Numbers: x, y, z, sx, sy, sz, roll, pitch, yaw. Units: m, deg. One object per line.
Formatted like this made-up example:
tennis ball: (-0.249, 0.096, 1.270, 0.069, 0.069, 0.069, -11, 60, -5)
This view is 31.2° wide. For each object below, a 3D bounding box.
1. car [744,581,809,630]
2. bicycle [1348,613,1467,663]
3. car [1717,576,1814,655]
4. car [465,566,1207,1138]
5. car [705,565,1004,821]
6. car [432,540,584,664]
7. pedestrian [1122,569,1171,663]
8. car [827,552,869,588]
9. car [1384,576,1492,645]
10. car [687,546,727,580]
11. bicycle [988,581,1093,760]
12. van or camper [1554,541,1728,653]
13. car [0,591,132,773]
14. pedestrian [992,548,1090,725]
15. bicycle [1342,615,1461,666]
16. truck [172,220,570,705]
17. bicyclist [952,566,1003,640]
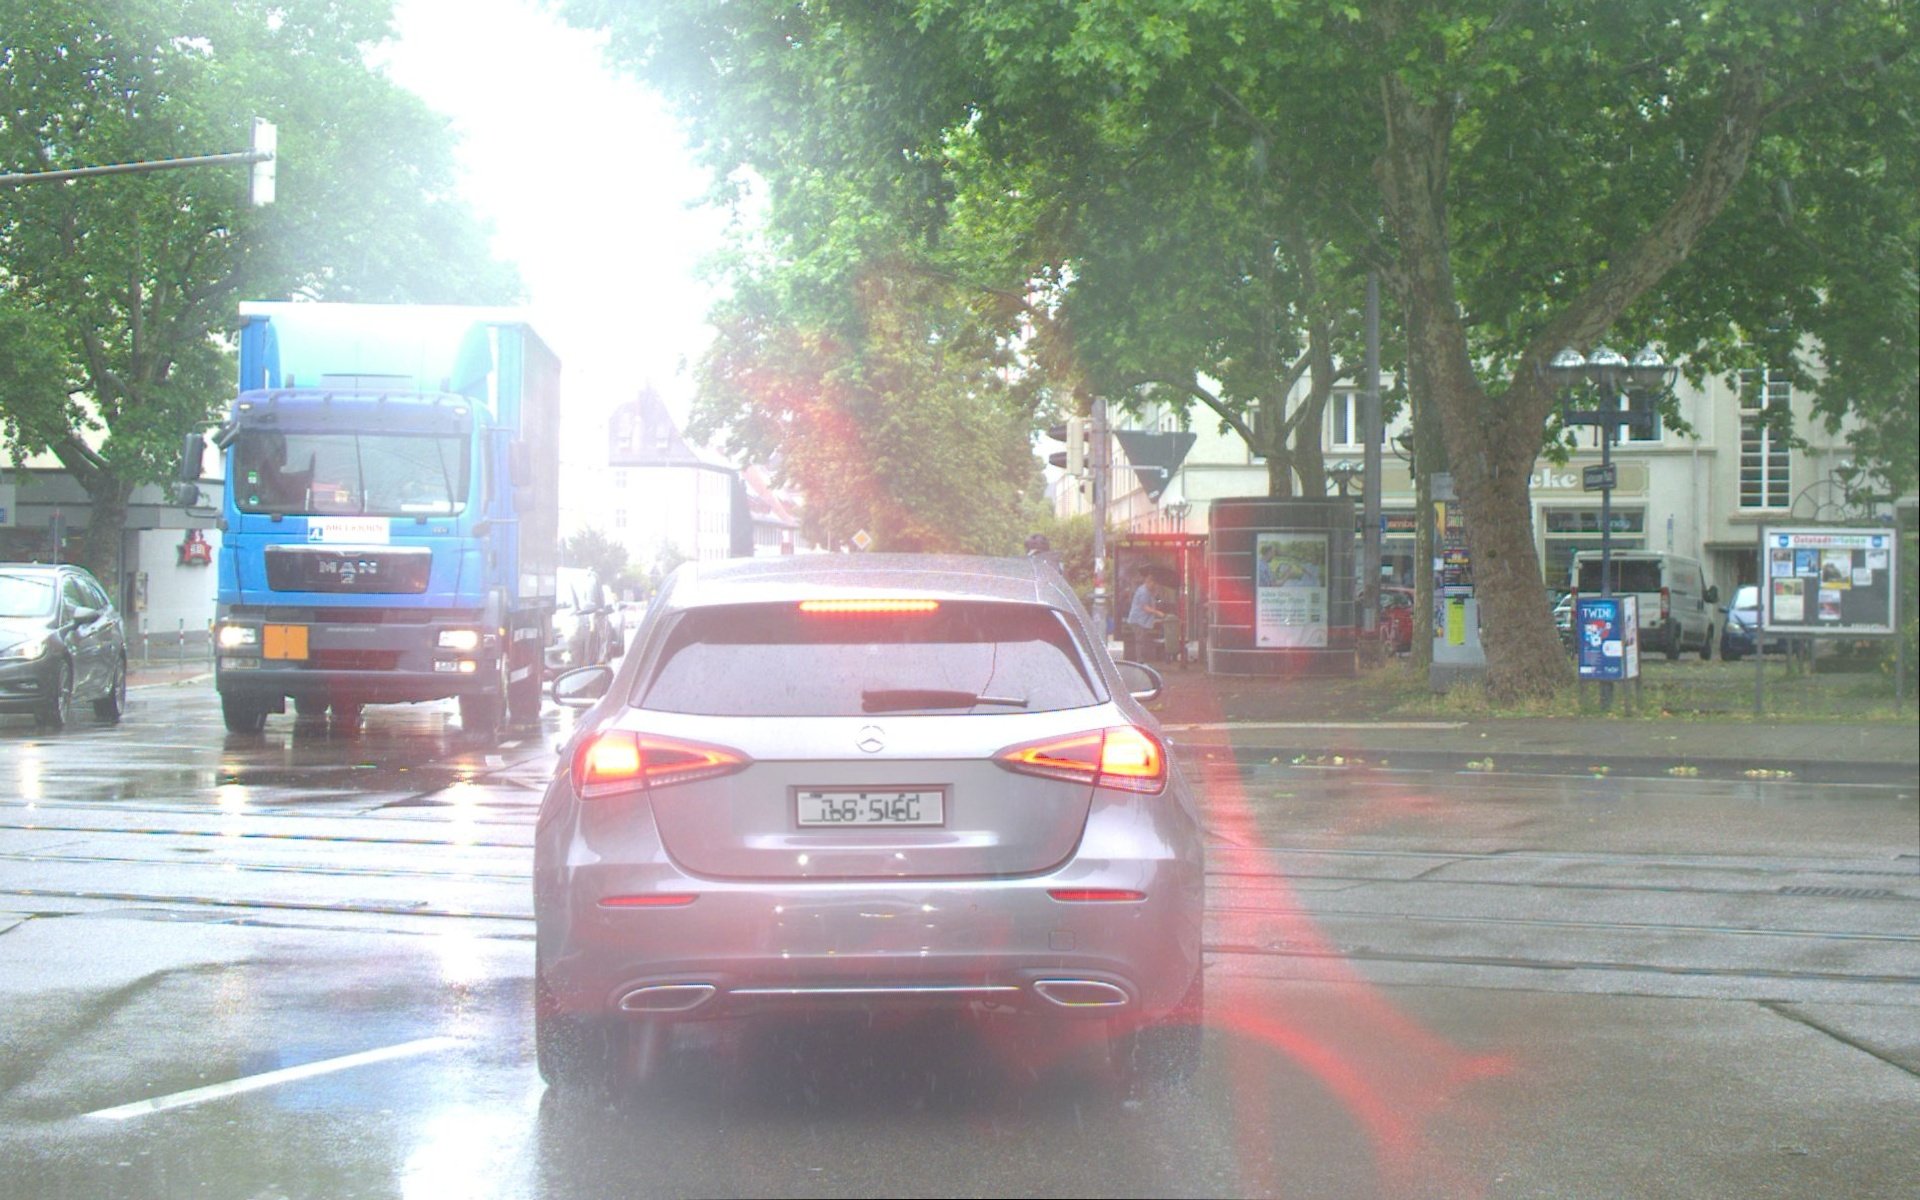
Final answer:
car: (-6.054, 0.190, 113.125, 1.993, 1.568, 4.001, 0, 0, -5)
bicycle: (8.836, 0.745, 67.928, 2.249, 0.965, 0.584, 0, 0, 20)
car: (16.414, 0.325, 69.978, 1.681, 1.570, 3.733, 0, -1, 17)
car: (-0.416, 0.612, 10.216, 1.791, 1.368, 3.507, 2, 0, -4)
car: (-0.700, 0.486, 20.552, 1.607, 1.368, 4.001, 0, 0, -4)
car: (-6.063, 0.021, 46.436, 1.742, 1.598, 4.000, 0, 0, -3)
pedestrian: (3.317, 0.286, 61.103, 0.716, 1.663, 0.665, 0, 0, -12)
car: (-5.910, -1.585, 181.311, 2.046, 1.830, 4.792, 0, 0, 0)
car: (10.091, 0.242, 72.378, 1.584, 1.332, 3.258, 0, -2, 20)
car: (-13.849, -2.021, 188.602, 1.889, 1.830, 4.000, 0, 0, 0)
bicycle: (0.674, 0.538, 27.866, 0.749, 1.372, 2.707, -1, 0, 3)
van or camper: (14.164, -0.057, 71.262, 2.399, 2.224, 5.422, 0, 0, 24)
car: (-8.868, 0.704, 31.651, 1.726, 1.541, 4.341, 0, 0, -4)
pedestrian: (0.661, 0.288, 27.710, 0.744, 1.393, 1.047, -1, 0, 3)
bicycle: (8.644, 0.792, 67.308, 2.254, 0.965, 0.534, 0, 0, 20)
truck: (-5.465, -1.181, 33.675, 2.845, 4.012, 10.318, 0, 0, -4)
bicyclist: (0.441, 0.087, 86.807, 0.938, 1.862, 1.143, 0, -1, -22)
